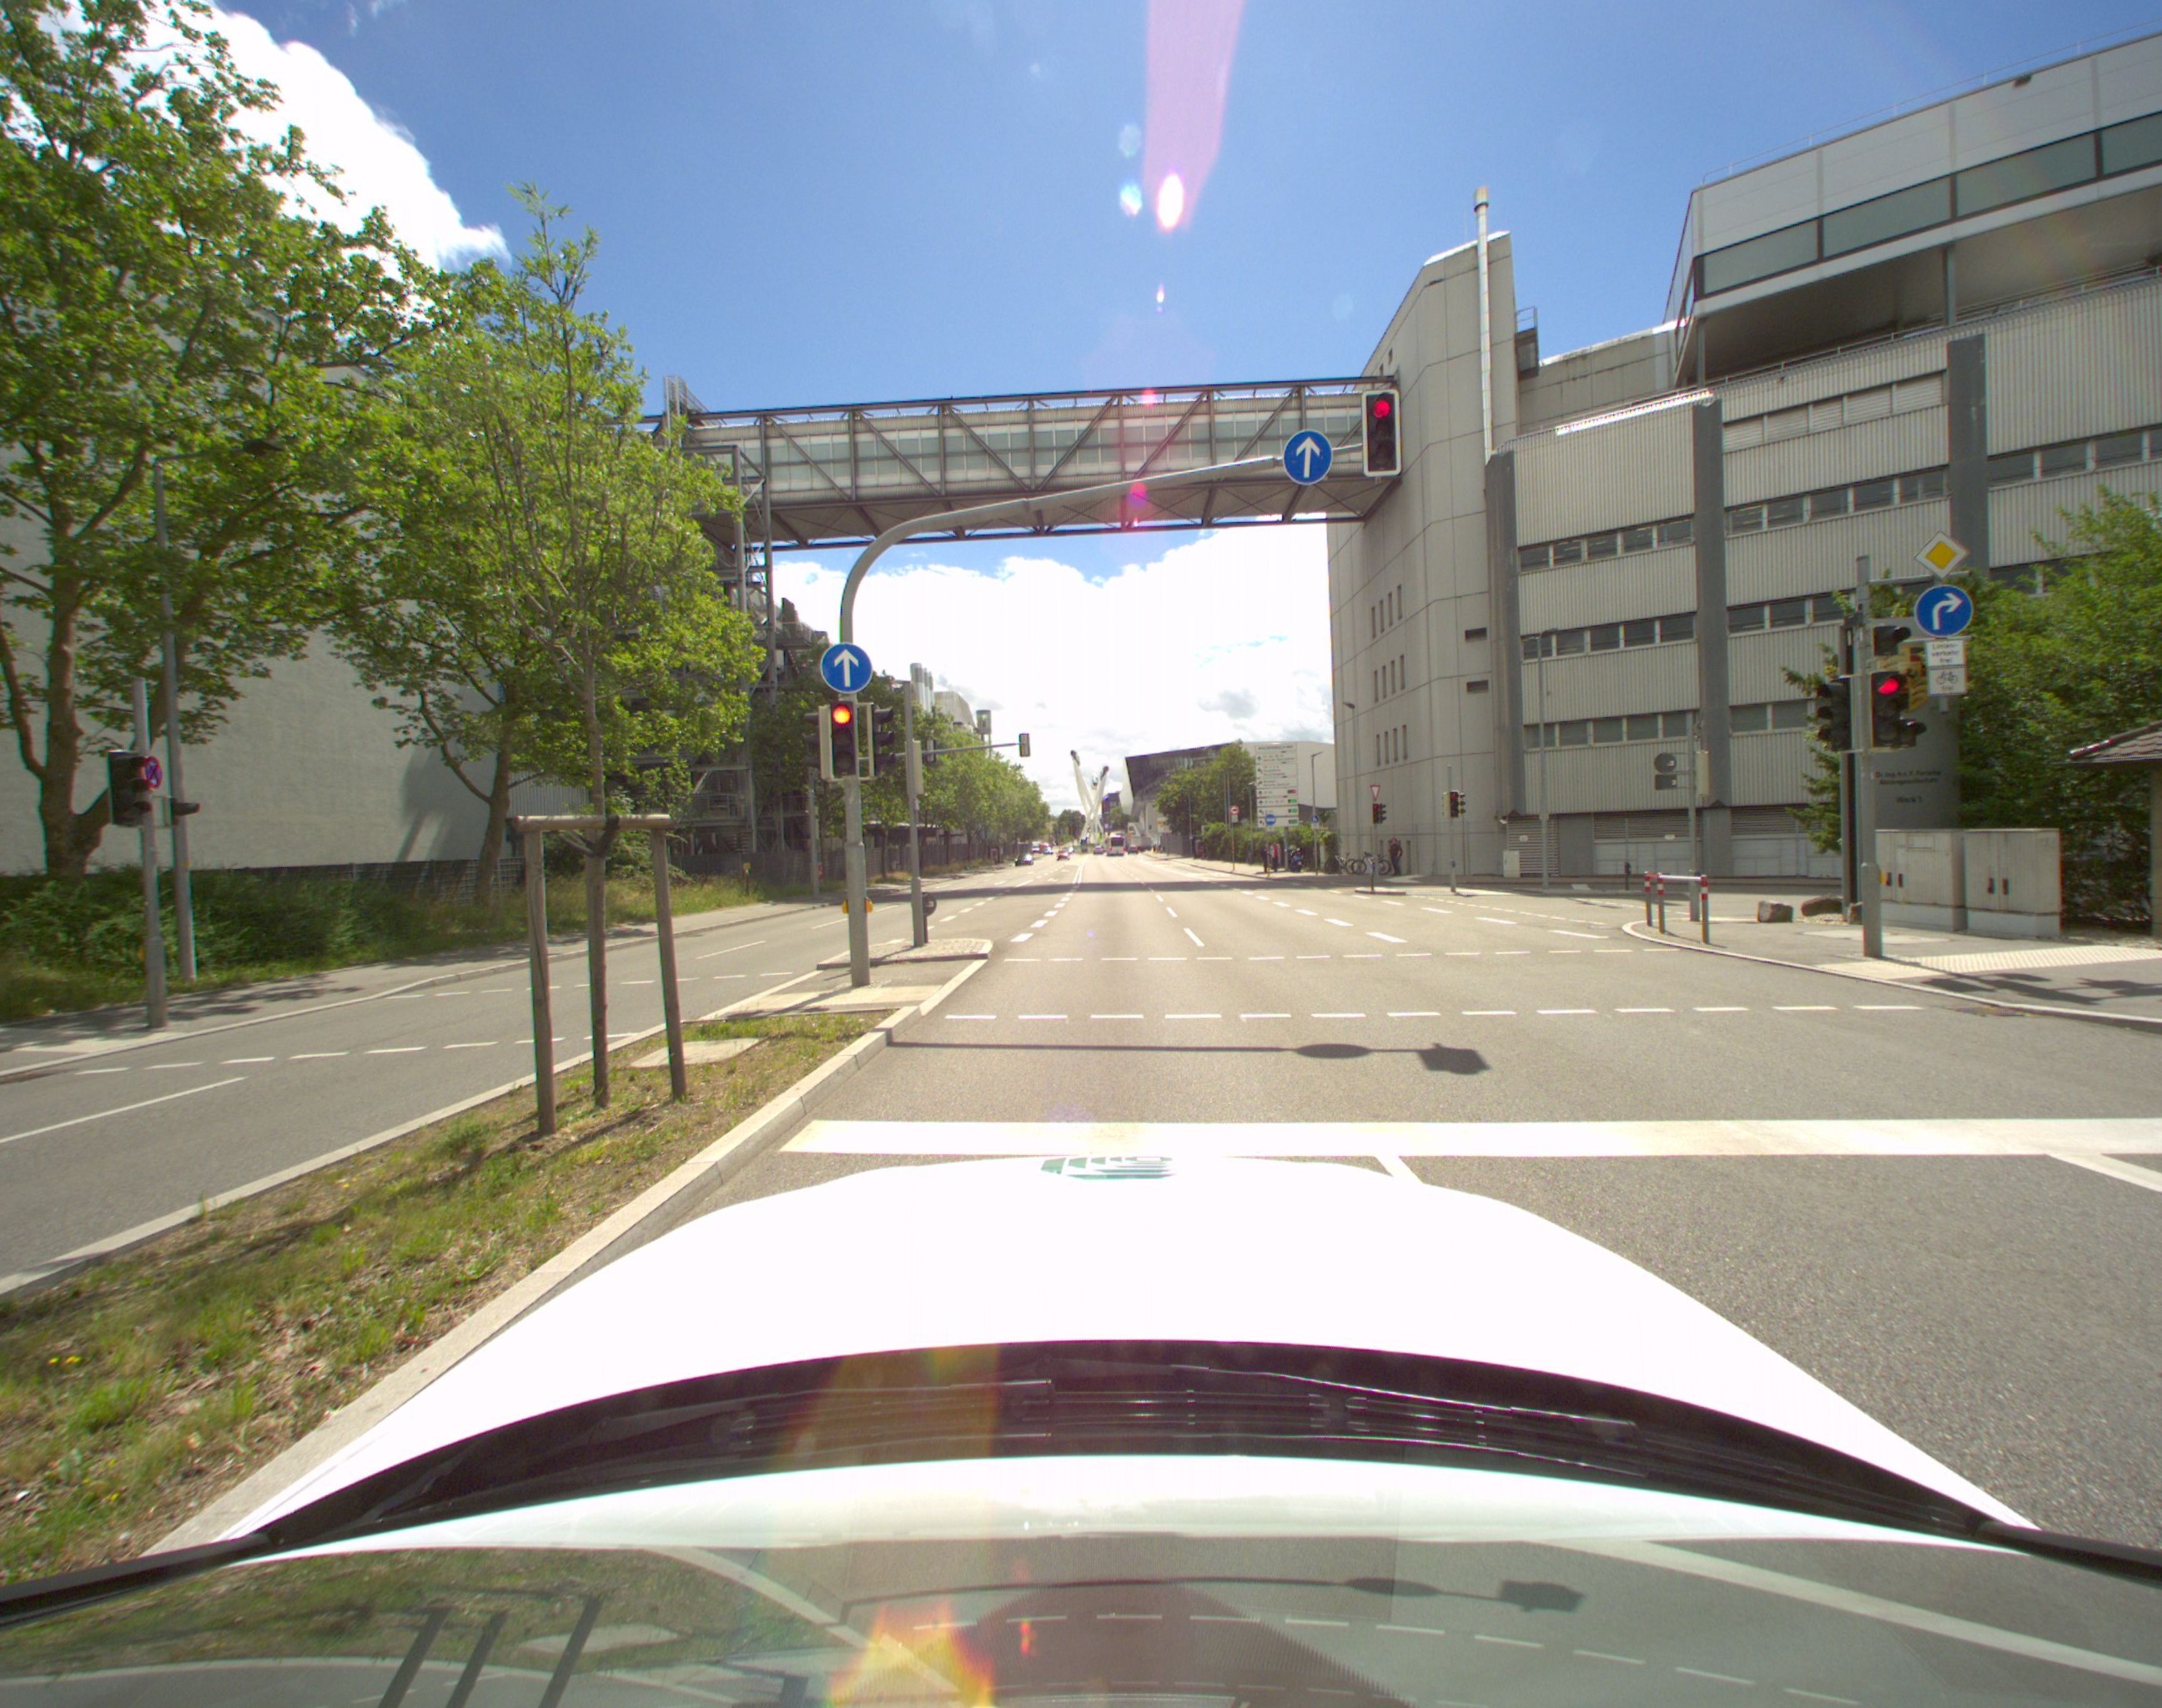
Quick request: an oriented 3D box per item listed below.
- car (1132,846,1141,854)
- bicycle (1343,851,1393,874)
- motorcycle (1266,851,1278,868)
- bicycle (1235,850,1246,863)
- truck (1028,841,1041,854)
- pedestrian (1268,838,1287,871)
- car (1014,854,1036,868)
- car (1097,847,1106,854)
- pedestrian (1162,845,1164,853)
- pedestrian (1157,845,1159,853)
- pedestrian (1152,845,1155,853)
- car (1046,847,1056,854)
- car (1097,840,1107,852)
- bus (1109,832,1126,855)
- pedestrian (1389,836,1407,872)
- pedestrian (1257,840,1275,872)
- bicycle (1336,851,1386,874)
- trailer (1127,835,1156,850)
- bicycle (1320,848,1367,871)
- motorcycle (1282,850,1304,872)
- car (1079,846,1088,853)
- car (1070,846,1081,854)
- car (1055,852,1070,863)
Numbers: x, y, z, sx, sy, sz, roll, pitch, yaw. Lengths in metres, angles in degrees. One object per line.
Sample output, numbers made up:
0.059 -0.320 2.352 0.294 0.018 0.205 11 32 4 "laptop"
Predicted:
9.897 -0.759 146.153 1.551 1.273 3.704 -4 0 3 "car"
13.598 0.399 38.621 2.166 1.086 0.480 -1 -1 37 "bicycle"
12.176 0.341 51.869 0.455 1.022 1.914 0 -1 4 "motorcycle"
12.727 0.178 65.127 0.417 1.022 1.911 0 -1 -2 "bicycle"
-11.809 -1.613 209.321 2.581 3.324 7.083 0 -1 3 "truck"
11.191 0.039 46.326 0.692 1.793 0.709 -4 0 -14 "pedestrian"
-6.693 0.853 97.521 1.910 1.488 4.775 -4 0 3 "car"
3.786 -0.676 148.831 1.551 1.273 3.704 -4 0 3 "car"
13.891 -0.812 138.345 0.384 1.421 0.424 0 -1 2 "pedestrian"
12.974 -0.823 137.518 0.384 1.421 0.424 0 -1 2 "pedestrian"
12.256 -0.799 137.893 0.384 1.421 0.424 0 -1 2 "pedestrian"
-6.459 -0.768 176.052 1.792 1.574 4.000 -1 0 0 "car"
4.404 -1.677 171.526 1.838 2.624 3.999 0 -1 0 "car"
6.058 -1.723 134.969 2.776 3.686 6.947 0 -1 3 "bus"
14.374 0.009 36.950 0.650 1.640 0.538 -1 -1 30 "pedestrian"
10.496 0.107 46.309 0.642 1.793 0.709 -4 0 -14 "pedestrian"
13.518 0.405 39.357 2.196 1.086 0.480 -1 -1 37 "bicycle"
12.868 -2.423 172.092 3.291 2.995 10.429 -1 -1 21 "trailer"
13.085 0.282 40.701 2.196 1.086 0.480 -1 -1 37 "bicycle"
11.652 0.401 44.891 0.418 1.166 1.951 0 -1 -9 "motorcycle"
0.538 -0.895 156.012 1.551 1.273 3.704 -4 0 3 "car"
-1.057 -0.832 158.889 1.762 1.420 3.704 -4 0 3 "car"
-2.555 0.536 114.517 1.762 1.420 3.704 -4 0 3 "car"
